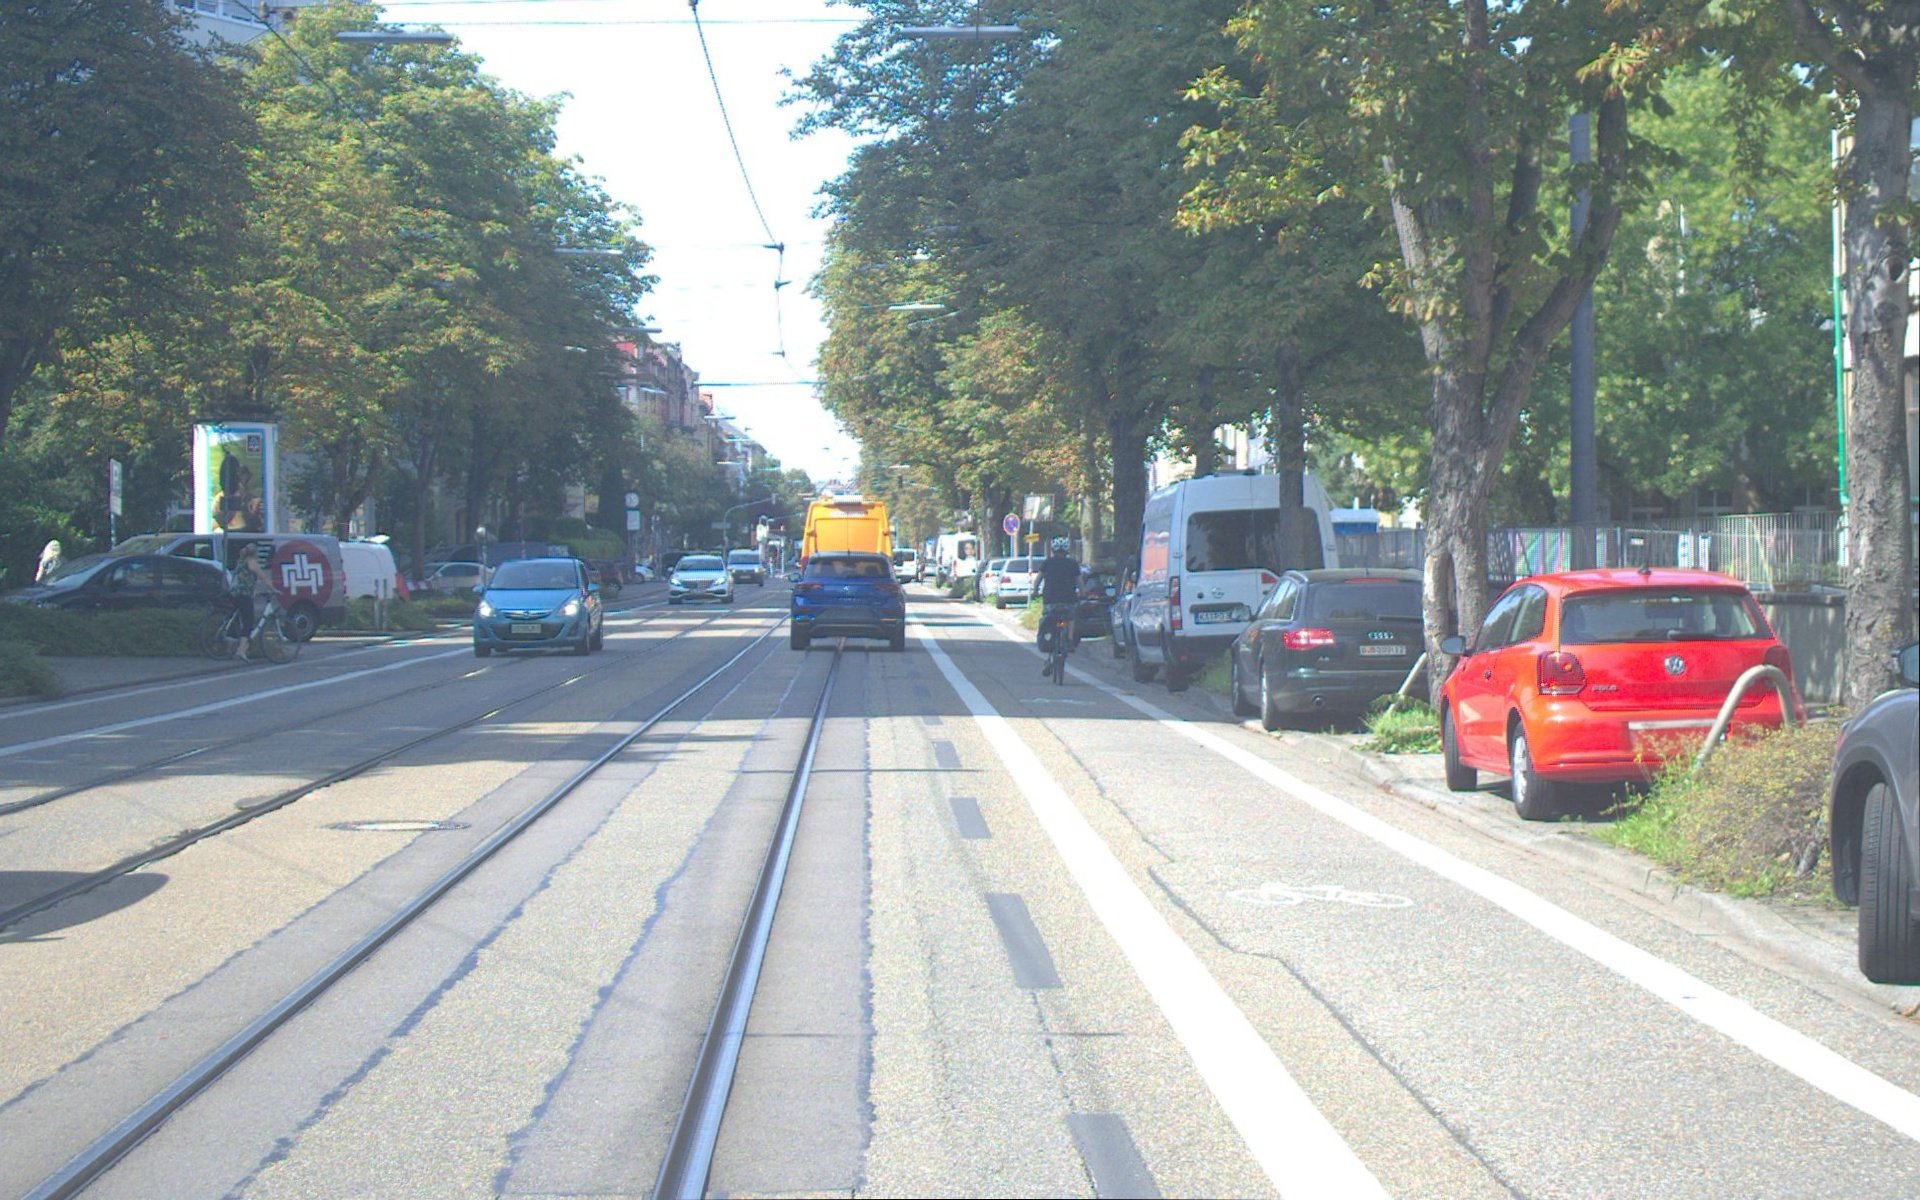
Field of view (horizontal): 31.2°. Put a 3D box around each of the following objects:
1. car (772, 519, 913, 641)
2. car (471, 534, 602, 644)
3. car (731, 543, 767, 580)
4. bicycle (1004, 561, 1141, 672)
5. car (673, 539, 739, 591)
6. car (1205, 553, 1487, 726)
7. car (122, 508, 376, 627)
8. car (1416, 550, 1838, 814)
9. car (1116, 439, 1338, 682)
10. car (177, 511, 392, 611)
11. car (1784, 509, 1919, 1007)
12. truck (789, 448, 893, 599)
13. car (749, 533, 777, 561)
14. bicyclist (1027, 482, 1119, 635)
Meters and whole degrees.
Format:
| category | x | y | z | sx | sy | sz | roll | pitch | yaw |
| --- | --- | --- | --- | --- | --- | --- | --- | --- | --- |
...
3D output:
| category | x | y | z | sx | sy | sz | roll | pitch | yaw |
| --- | --- | --- | --- | --- | --- | --- | --- | --- | --- |
| car | -1.847 | -0.360 | 55.132 | 2.135 | 1.852 | 5.568 | -1 | 1 | -1 |
| car | -6.406 | -0.196 | 52.293 | 1.633 | 1.579 | 4.189 | 0 | 1 | -2 |
| car | -10.120 | -1.851 | 165.039 | 1.627 | 1.699 | 4.001 | 0 | 1 | -2 |
| bicycle | 1.309 | 0.165 | 41.245 | 1.401 | 1.130 | 4.001 | 0 | 3 | -2 |
| car | -7.784 | -1.094 | 105.604 | 1.898 | 1.556 | 4.123 | 0 | 1 | -3 |
| car | 3.445 | 0.306 | 31.439 | 1.908 | 1.427 | 4.293 | 0 | 1 | -2 |
| car | -12.458 | -0.574 | 60.365 | 3.989 | 2.007 | 1.856 | 0 | 1 | -44 |
| car | 4.025 | 0.439 | 21.308 | 1.740 | 1.457 | 3.684 | 0 | 1 | -2 |
| car | 3.169 | -0.505 | 42.018 | 1.993 | 2.746 | 5.762 | 0 | 1 | -2 |
| car | -13.926 | -0.803 | 71.010 | 3.989 | 2.007 | 1.856 | 0 | 1 | -44 |
| car | 4.105 | 0.547 | 10.925 | 1.740 | 1.662 | 4.362 | 0 | 1 | -2 |
| truck | -2.542 | -1.656 | 74.584 | 2.135 | 3.113 | 6.085 | -1 | 1 | -1 |
| car | -12.839 | -3.442 | 224.605 | 1.747 | 1.790 | 4.001 | 0 | 1 | -2 |
| bicyclist | 1.349 | -0.503 | 41.231 | 1.031 | 1.806 | 1.016 | 1 | 1 | -1 |
